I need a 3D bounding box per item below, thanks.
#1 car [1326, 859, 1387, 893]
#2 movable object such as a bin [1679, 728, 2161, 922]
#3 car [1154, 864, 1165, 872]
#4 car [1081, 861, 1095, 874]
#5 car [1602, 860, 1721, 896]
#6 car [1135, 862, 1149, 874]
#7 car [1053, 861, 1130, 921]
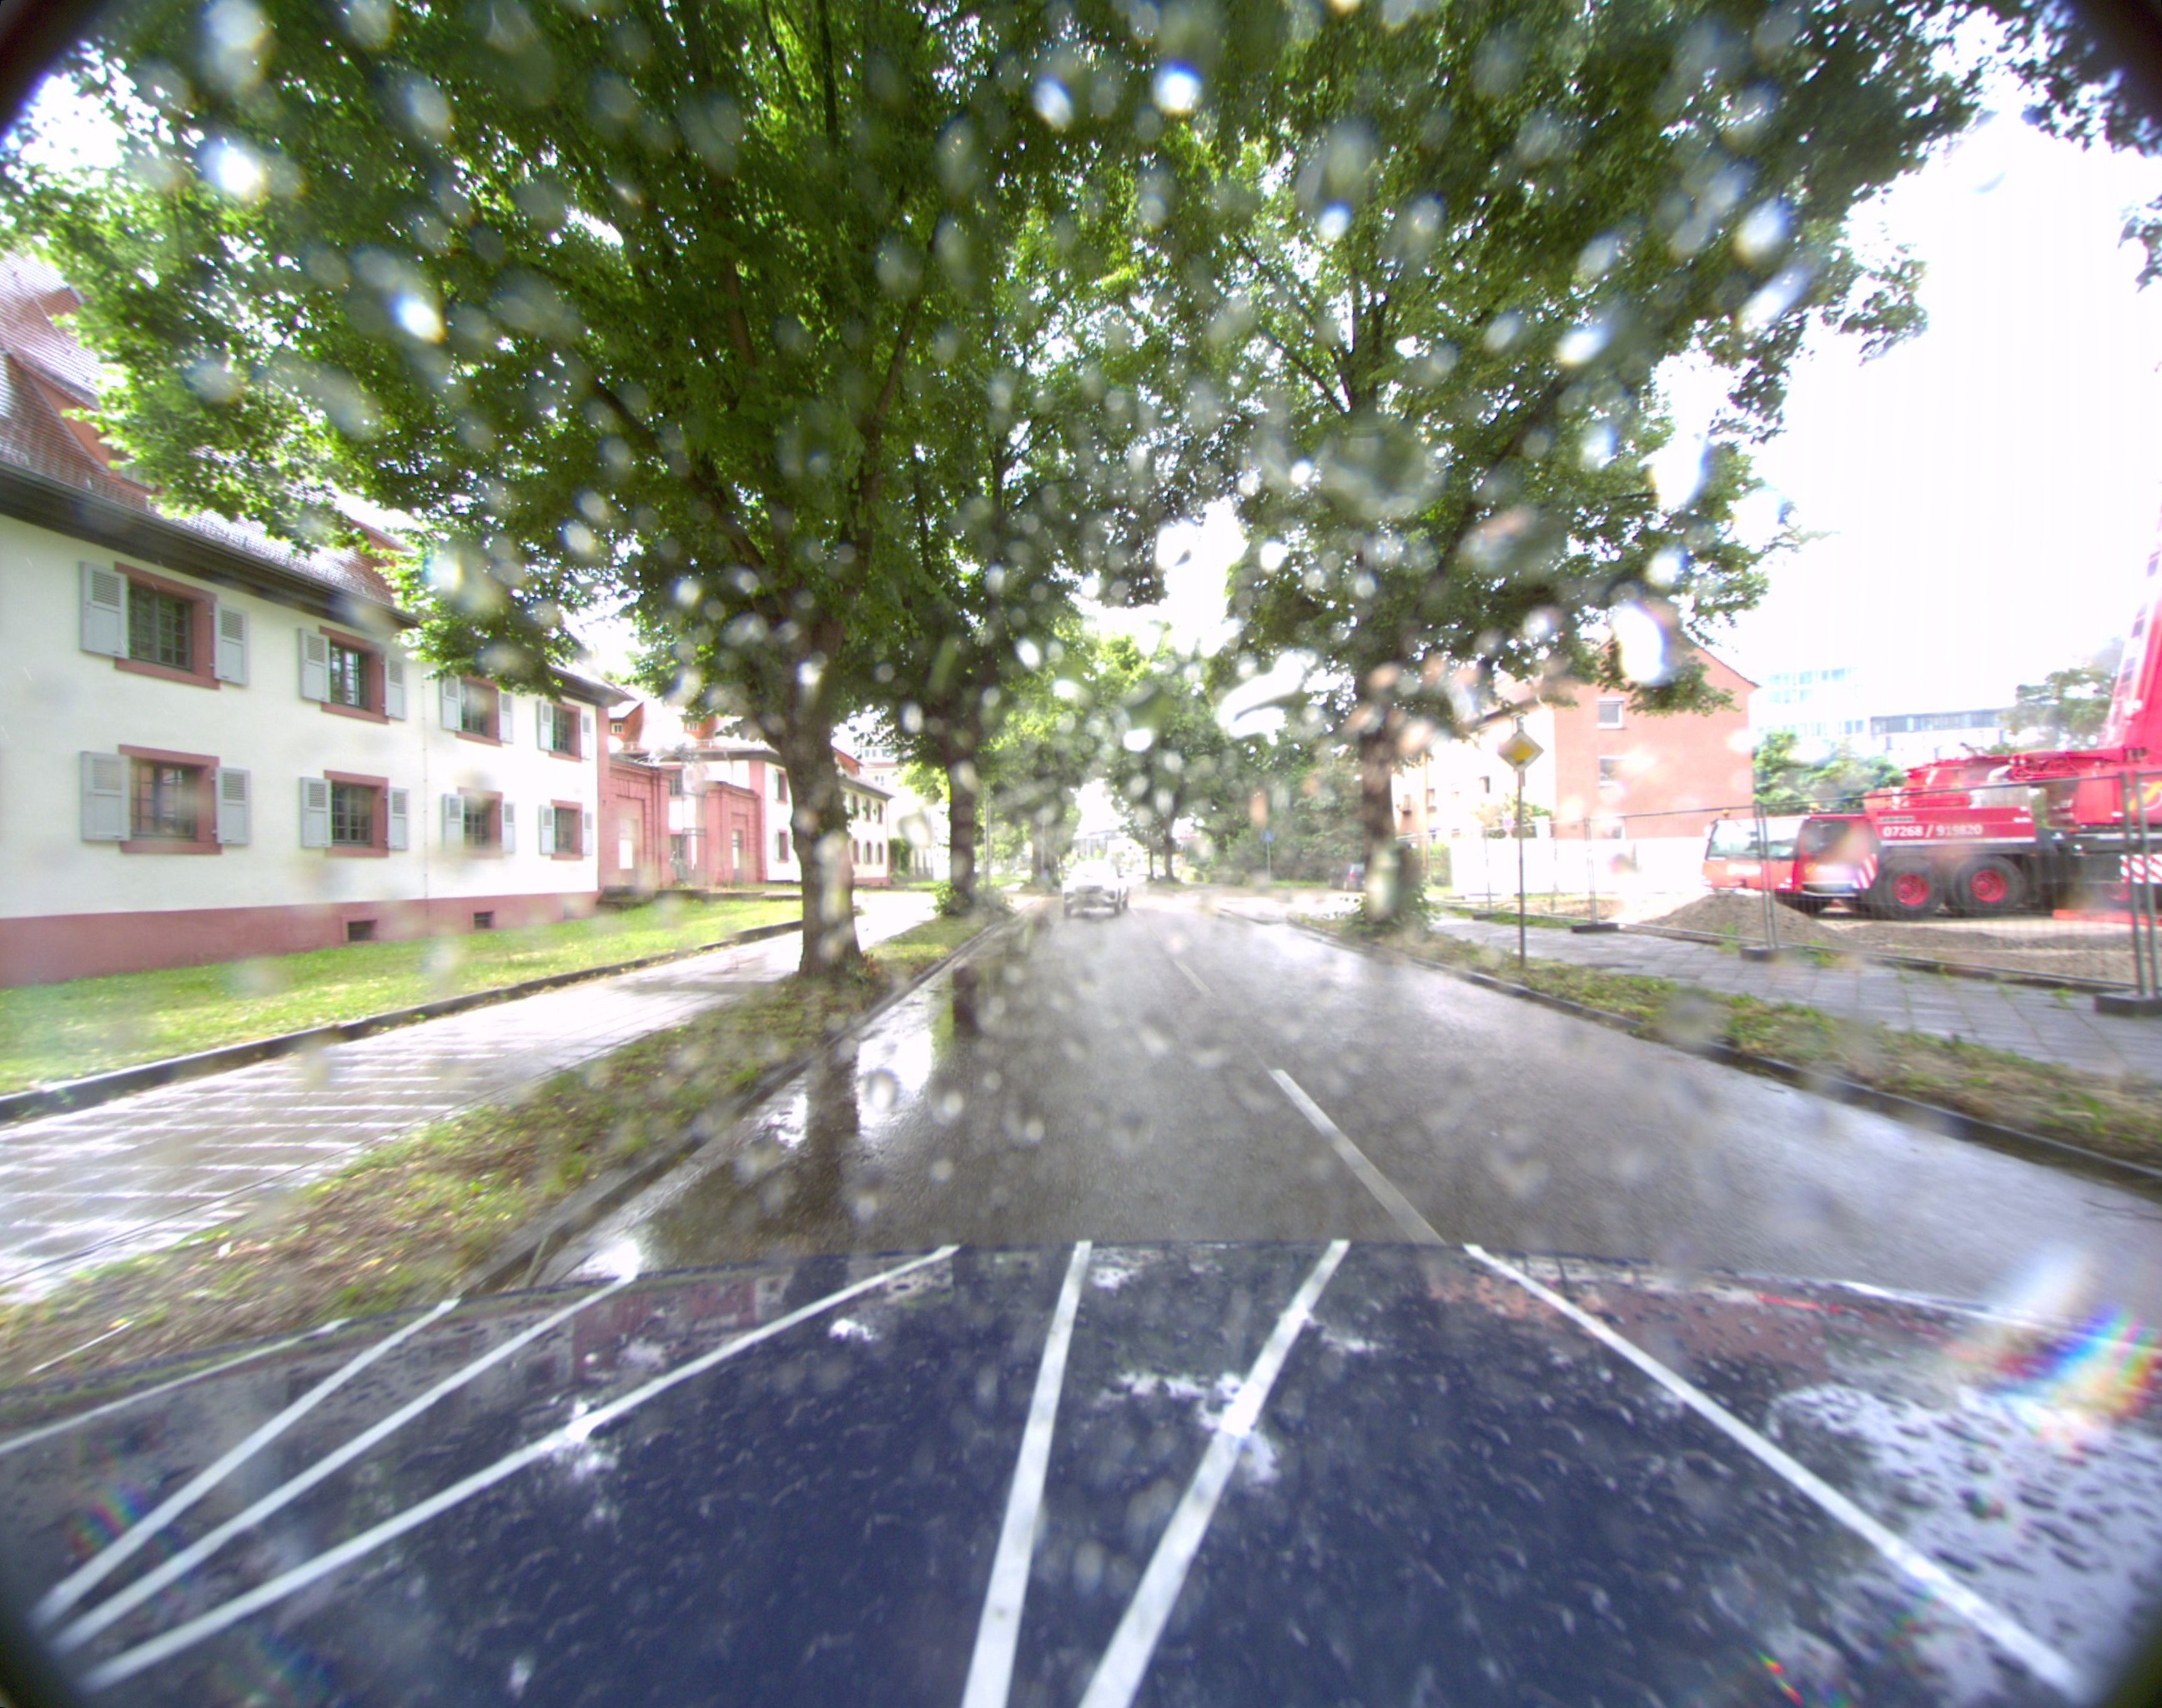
[{"bbox_3d":[13.425,1.054,37.214,1.628,1.412,3.870,-2,1,2],"label":"car"},{"bbox_3d":[21.102,-0.624,18.694,9.834,4.090,3.367,-2,-1,3],"label":"movable object such as a bin"},{"bbox_3d":[14.230,2.578,138.055,1.683,1.499,3.795,-1,-1,4],"label":"car"},{"bbox_3d":[1.074,1.947,109.421,1.891,1.703,4.230,-1,-1,1],"label":"car"},{"bbox_3d":[24.671,0.980,32.317,4.067,1.404,1.726,-1,0,-10],"label":"car"},{"bbox_3d":[8.913,2.078,111.204,1.891,1.703,4.230,-1,-1,1],"label":"car"},{"bbox_3d":[0.386,0.990,21.696,1.735,1.524,3.619,-1,-1,8],"label":"car"}]
